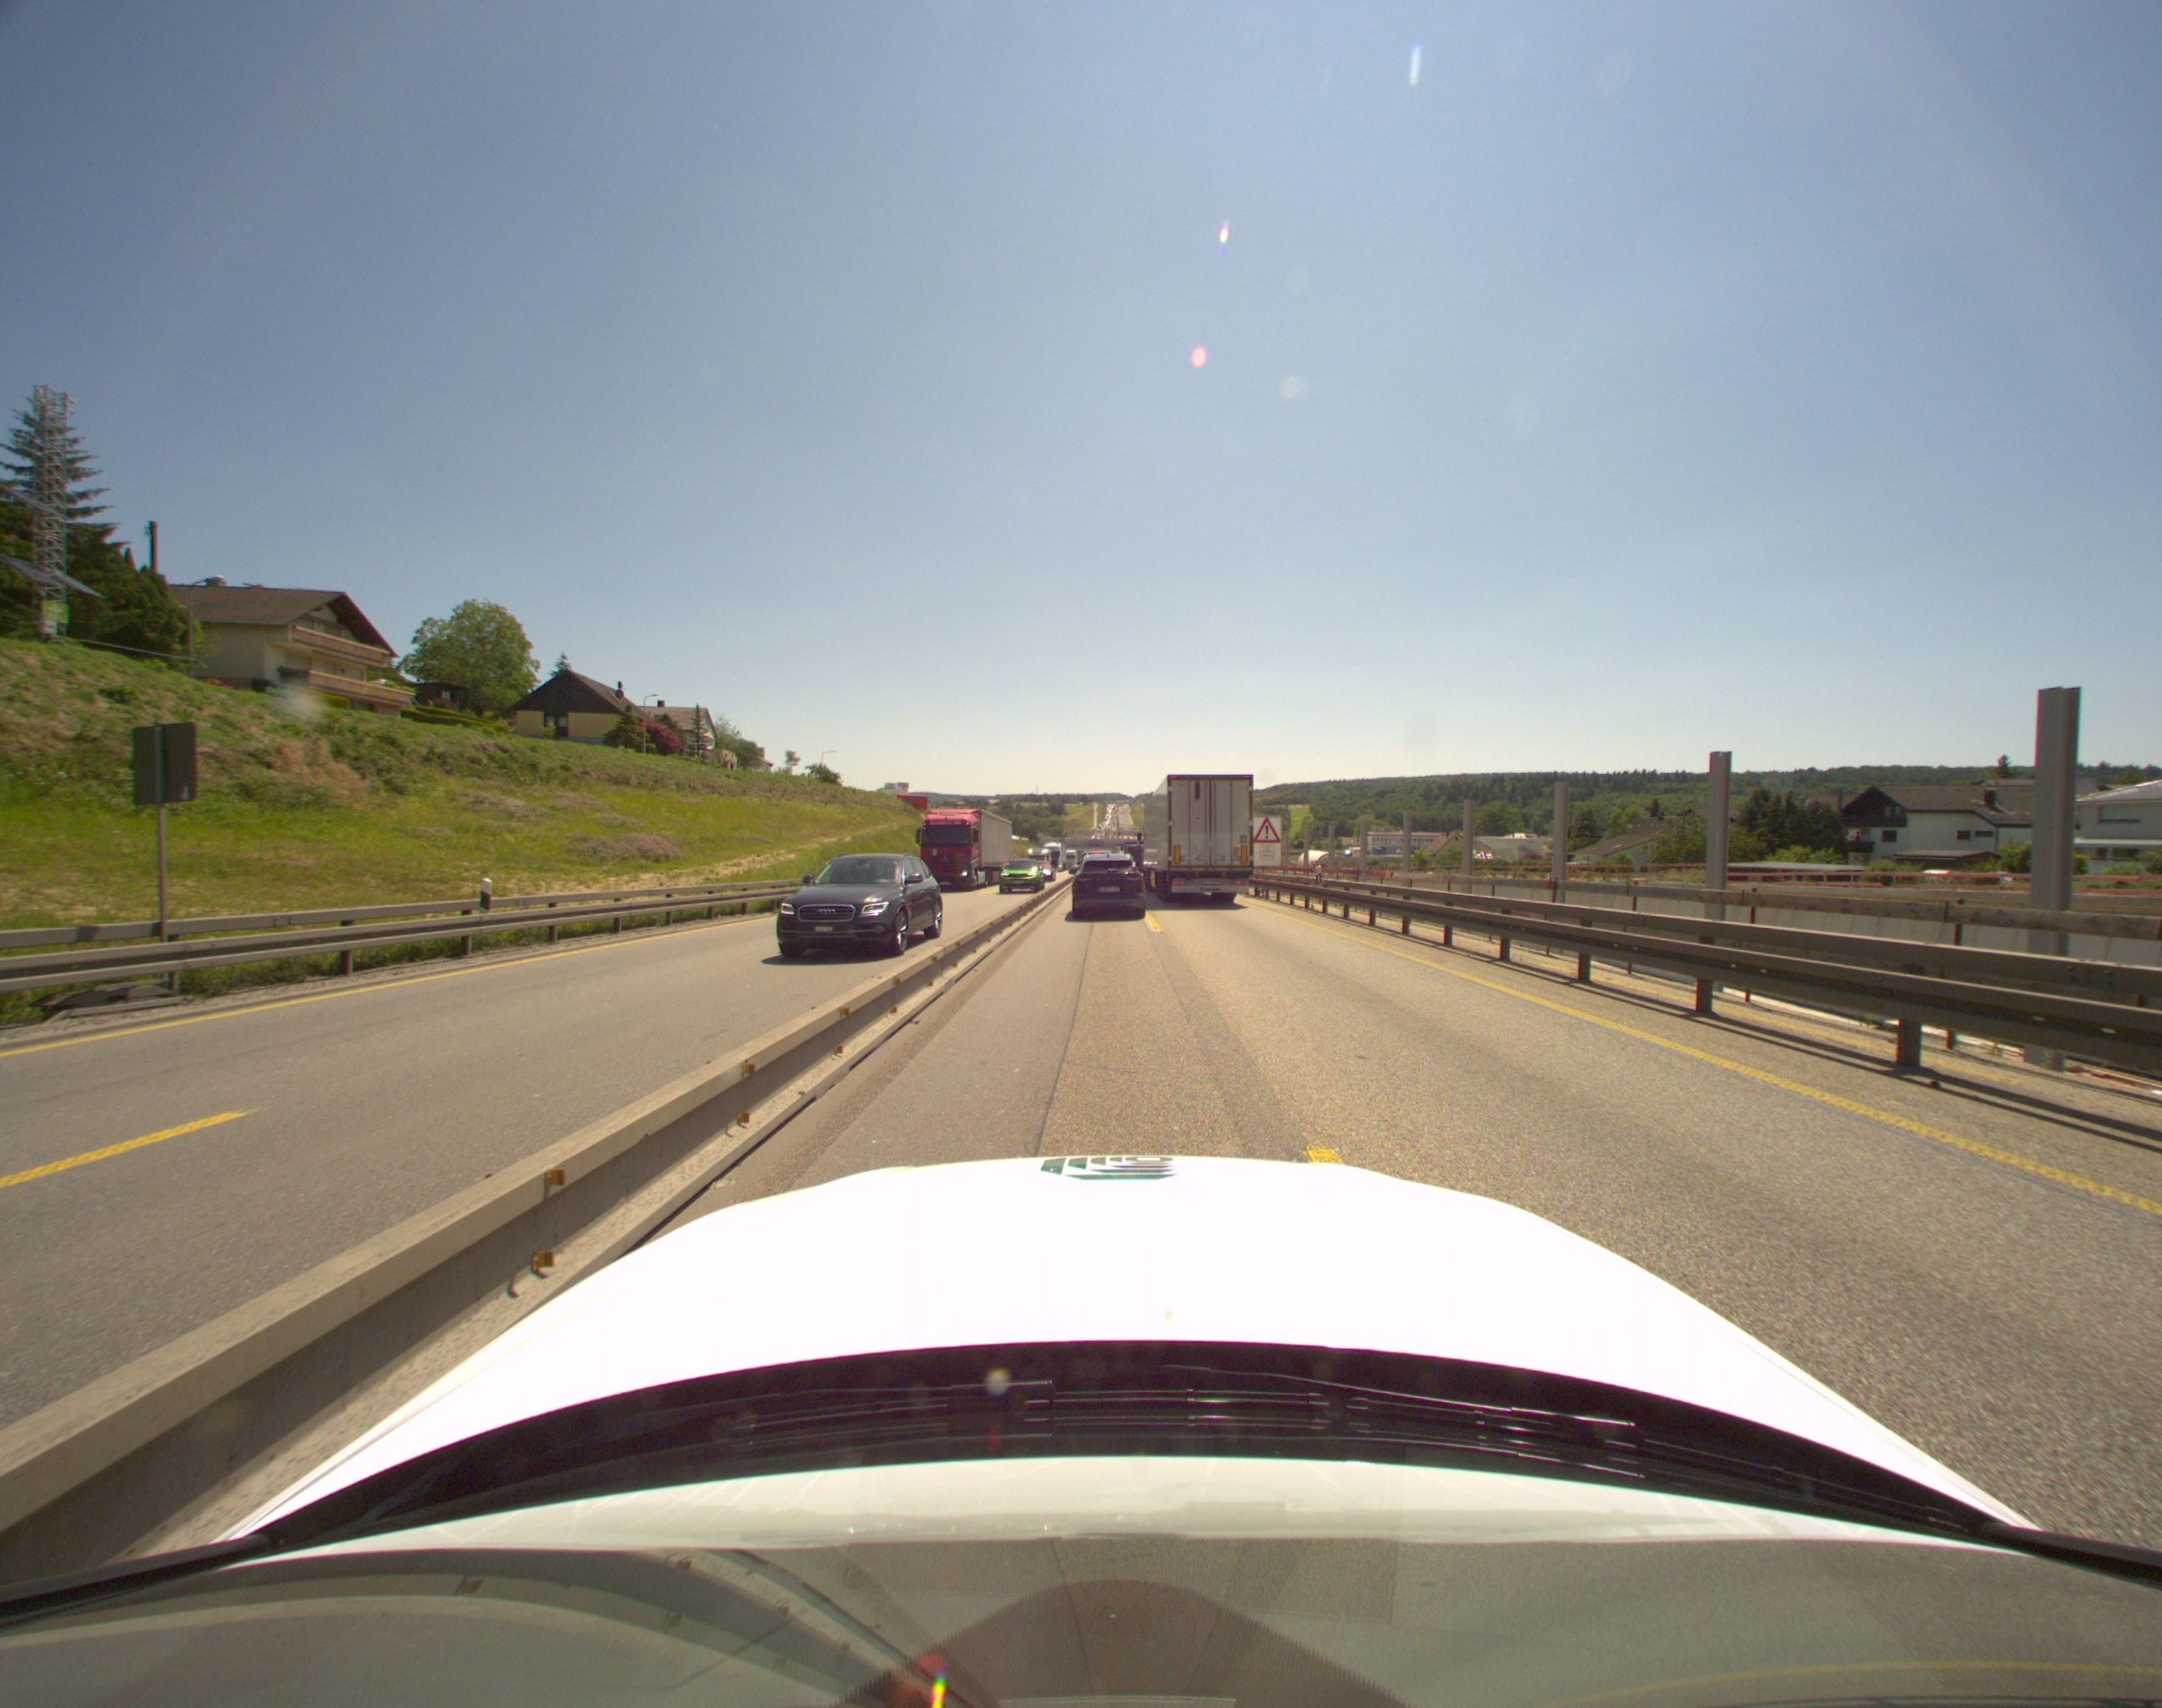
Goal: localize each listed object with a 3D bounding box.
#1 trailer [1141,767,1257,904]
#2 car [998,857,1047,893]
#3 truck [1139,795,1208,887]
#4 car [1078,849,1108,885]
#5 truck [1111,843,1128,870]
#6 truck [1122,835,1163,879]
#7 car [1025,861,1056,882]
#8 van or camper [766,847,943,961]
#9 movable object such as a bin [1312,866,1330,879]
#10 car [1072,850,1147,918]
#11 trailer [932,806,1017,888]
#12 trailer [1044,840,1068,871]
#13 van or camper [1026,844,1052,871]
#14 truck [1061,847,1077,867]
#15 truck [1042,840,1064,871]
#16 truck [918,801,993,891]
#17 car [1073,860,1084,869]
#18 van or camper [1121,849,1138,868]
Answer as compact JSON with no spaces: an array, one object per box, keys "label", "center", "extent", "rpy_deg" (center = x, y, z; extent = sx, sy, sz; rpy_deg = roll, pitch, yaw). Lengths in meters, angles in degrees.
[{"label":"trailer","center":[4.052,-0.428,31.408],"extent":[2.791,4.059,14.121],"rpy_deg":[-1,-1,2]},{"label":"car","center":[-2.591,0.909,36.684],"extent":[1.747,1.508,4.002],"rpy_deg":[1,0,2]},{"label":"truck","center":[4.264,-0.523,38.474],"extent":[2.766,4.059,4.906],"rpy_deg":[-1,-1,2]},{"label":"car","center":[0.648,0.639,42.464],"extent":[1.469,1.795,3.299],"rpy_deg":[0,0,2]},{"label":"truck","center":[6.043,0.406,128.772],"extent":[2.508,3.959,7.601],"rpy_deg":[1,0,1]},{"label":"truck","center":[4.772,0.345,65.133],"extent":[2.803,3.135,12.844],"rpy_deg":[-1,-1,2]},{"label":"car","center":[-2.678,1.130,54.804],"extent":[1.761,1.363,4.412],"rpy_deg":[-1,0,1]},{"label":"van or camper","center":[-3.675,0.741,13.971],"extent":[1.821,1.668,3.890],"rpy_deg":[0,0,2]},{"label":"movable object such as a bin","center":[41.440,3.165,140.485],"extent":[1.985,2.239,4.154],"rpy_deg":[0,-1,2]},{"label":"car","center":[0.730,0.722,20.965],"extent":[1.793,1.620,3.299],"rpy_deg":[0,0,2]},{"label":"trailer","center":[-5.925,-0.323,47.834],"extent":[2.846,4.124,13.441],"rpy_deg":[0,0,1]},{"label":"trailer","center":[-3.633,0.280,120.323],"extent":[2.800,4.287,14.037],"rpy_deg":[0,-1,1]},{"label":"van or camper","center":[-4.689,0.399,91.139],"extent":[2.326,2.777,7.518],"rpy_deg":[-1,0,1]},{"label":"truck","center":[-2.446,0.609,169.281],"extent":[3.227,4.160,4.248],"rpy_deg":[-1,-1,1]},{"label":"truck","center":[-3.803,0.206,112.876],"extent":[2.764,4.287,4.677],"rpy_deg":[0,-1,1]},{"label":"truck","center":[-6.055,-0.373,39.944],"extent":[2.811,4.124,4.599],"rpy_deg":[0,0,1]},{"label":"car","center":[-0.408,1.609,126.666],"extent":[1.623,1.479,3.380],"rpy_deg":[0,-1,1]},{"label":"van or camper","center":[5.872,0.543,99.836],"extent":[1.986,2.244,4.002],"rpy_deg":[1,0,2]}]
